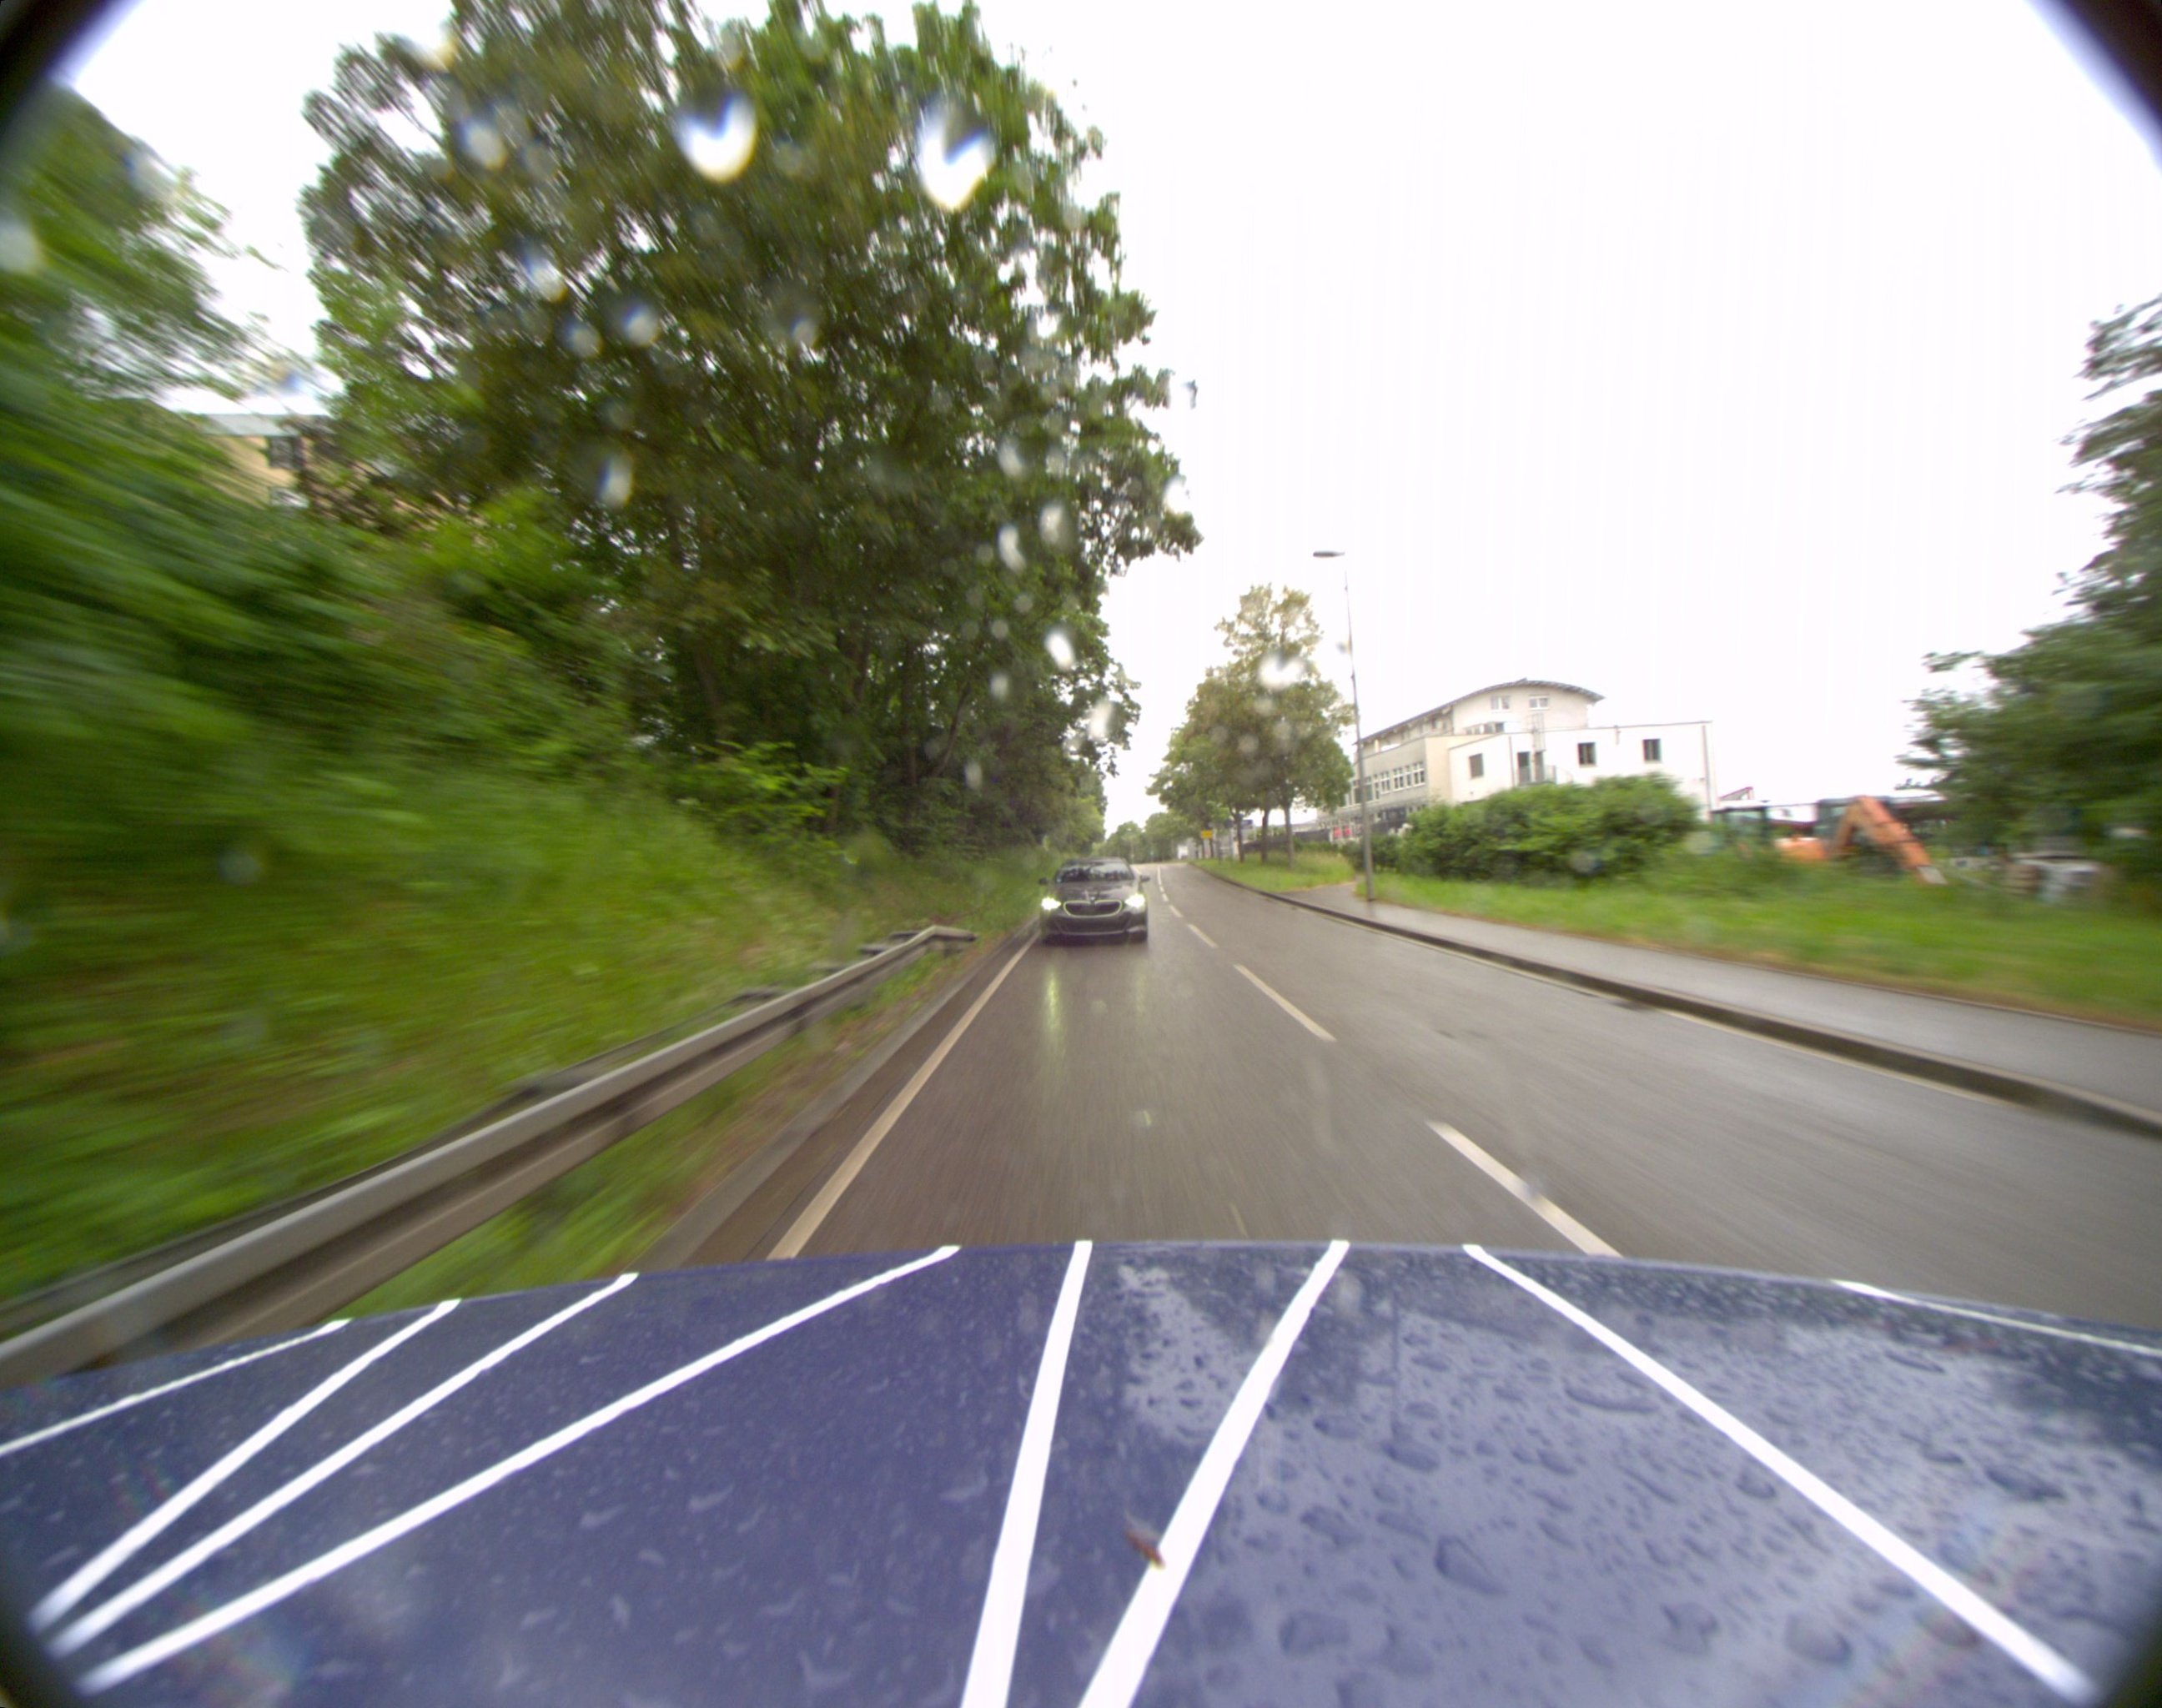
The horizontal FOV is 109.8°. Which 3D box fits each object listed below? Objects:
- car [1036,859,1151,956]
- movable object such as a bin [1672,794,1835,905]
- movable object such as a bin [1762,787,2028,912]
[{"bbox_3d":[0.226,0.890,14.444,1.845,1.471,3.999,-2,1,0],"label":"car"},{"bbox_3d":[19.286,-0.135,22.050,1.996,2.844,4.005,-3,0,18],"label":"movable object such as a bin"},{"bbox_3d":[15.698,-0.126,15.272,1.847,1.896,7.923,-2,0,34],"label":"movable object such as a bin"}]
